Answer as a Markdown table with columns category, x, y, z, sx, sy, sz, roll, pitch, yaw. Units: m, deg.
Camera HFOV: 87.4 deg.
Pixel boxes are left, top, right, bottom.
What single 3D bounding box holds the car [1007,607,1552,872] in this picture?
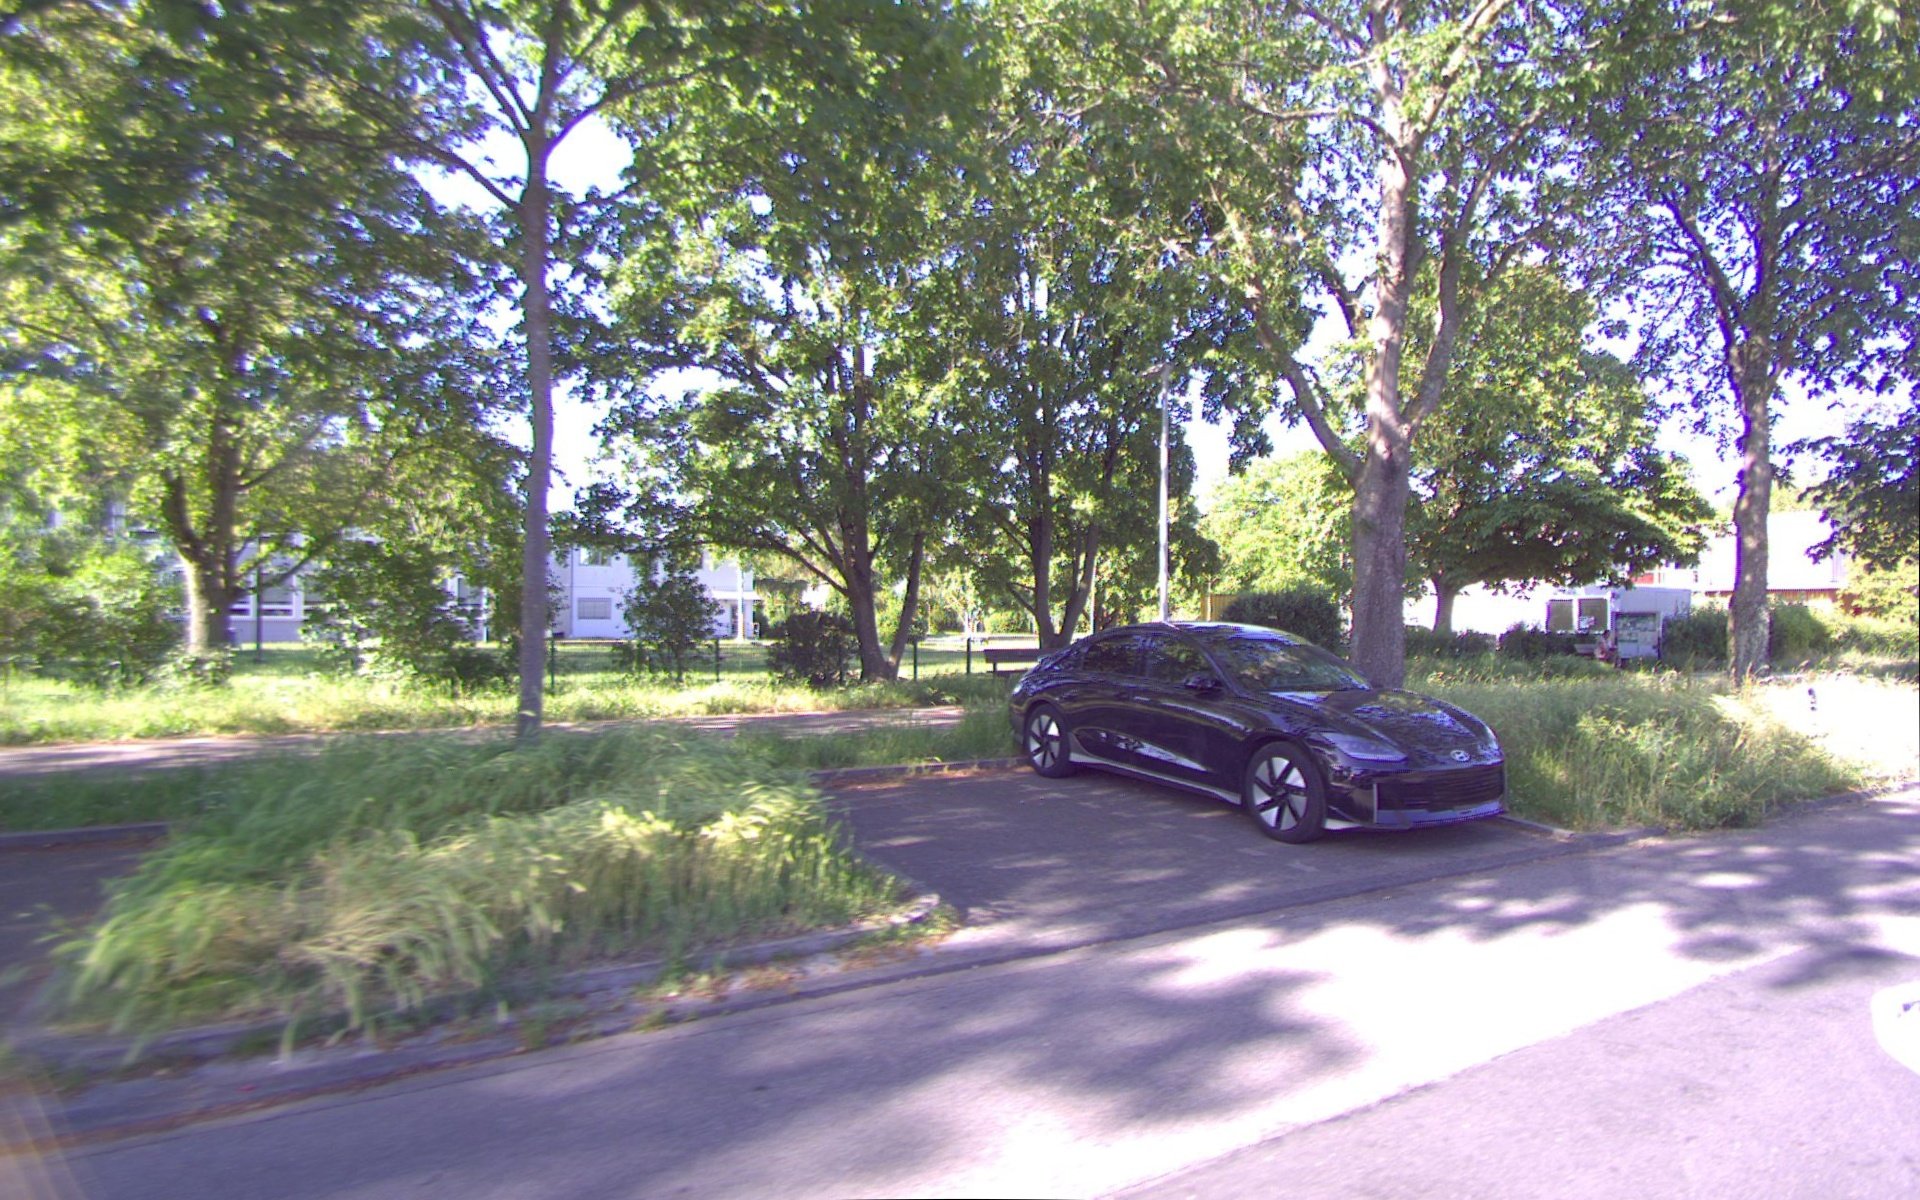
| category | x | y | z | sx | sy | sz | roll | pitch | yaw |
| --- | --- | --- | --- | --- | --- | --- | --- | --- | --- |
| car | 2.336 | 0.903 | 8.558 | 1.787 | 1.551 | 4.345 | 2 | 0 | -30 |

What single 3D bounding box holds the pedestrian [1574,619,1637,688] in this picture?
| category | x | y | z | sx | sy | sz | roll | pitch | yaw |
| --- | --- | --- | --- | --- | --- | --- | --- | --- | --- |
| pedestrian | 18.398 | 1.512 | 28.631 | 1.212 | 1.851 | 1.542 | 2 | 0 | 43 |
